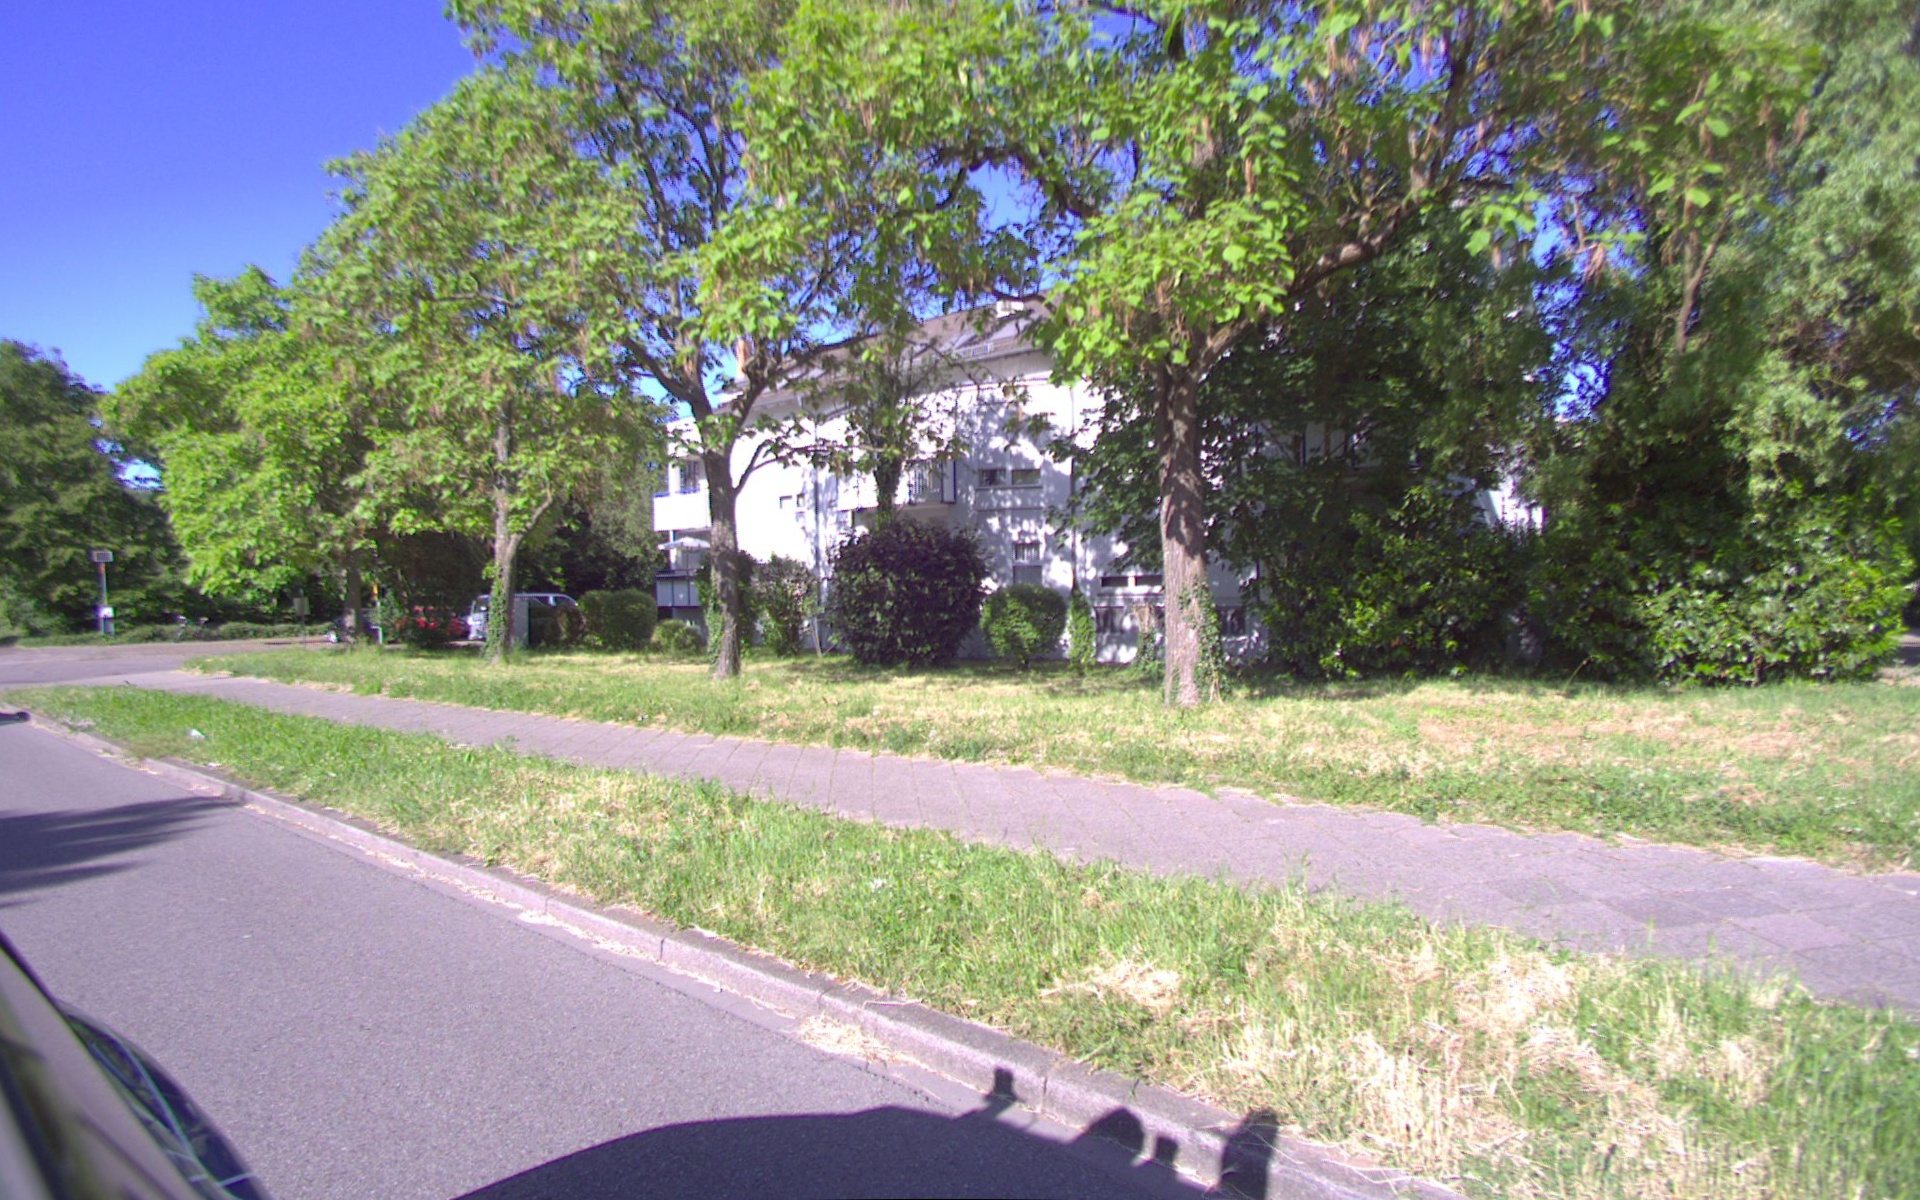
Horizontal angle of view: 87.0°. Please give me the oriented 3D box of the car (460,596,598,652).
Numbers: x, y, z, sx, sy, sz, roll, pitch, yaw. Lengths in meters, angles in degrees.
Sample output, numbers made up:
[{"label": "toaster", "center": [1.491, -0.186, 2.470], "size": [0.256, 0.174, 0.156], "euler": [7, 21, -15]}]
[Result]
[{"label": "car", "center": [-16.564, 0.896, 39.016], "size": [2.069, 1.984, 4.403], "euler": [-3, -1, 43]}]

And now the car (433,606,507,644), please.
[{"label": "car", "center": [-22.635, 1.128, 46.714], "size": [3.882, 1.615, 1.653], "euler": [1, 1, 40]}]

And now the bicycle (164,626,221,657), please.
[{"label": "bicycle", "center": [-31.966, 1.729, 42.153], "size": [1.875, 1.161, 0.762], "euler": [-1, 3, -40]}]

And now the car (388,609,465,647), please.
[{"label": "car", "center": [-23.563, 1.186, 44.648], "size": [3.882, 1.498, 1.653], "euler": [1, 1, 40]}]

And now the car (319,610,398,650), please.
[{"label": "car", "center": [-25.292, 1.222, 42.485], "size": [3.882, 1.498, 1.653], "euler": [1, 1, 40]}]
